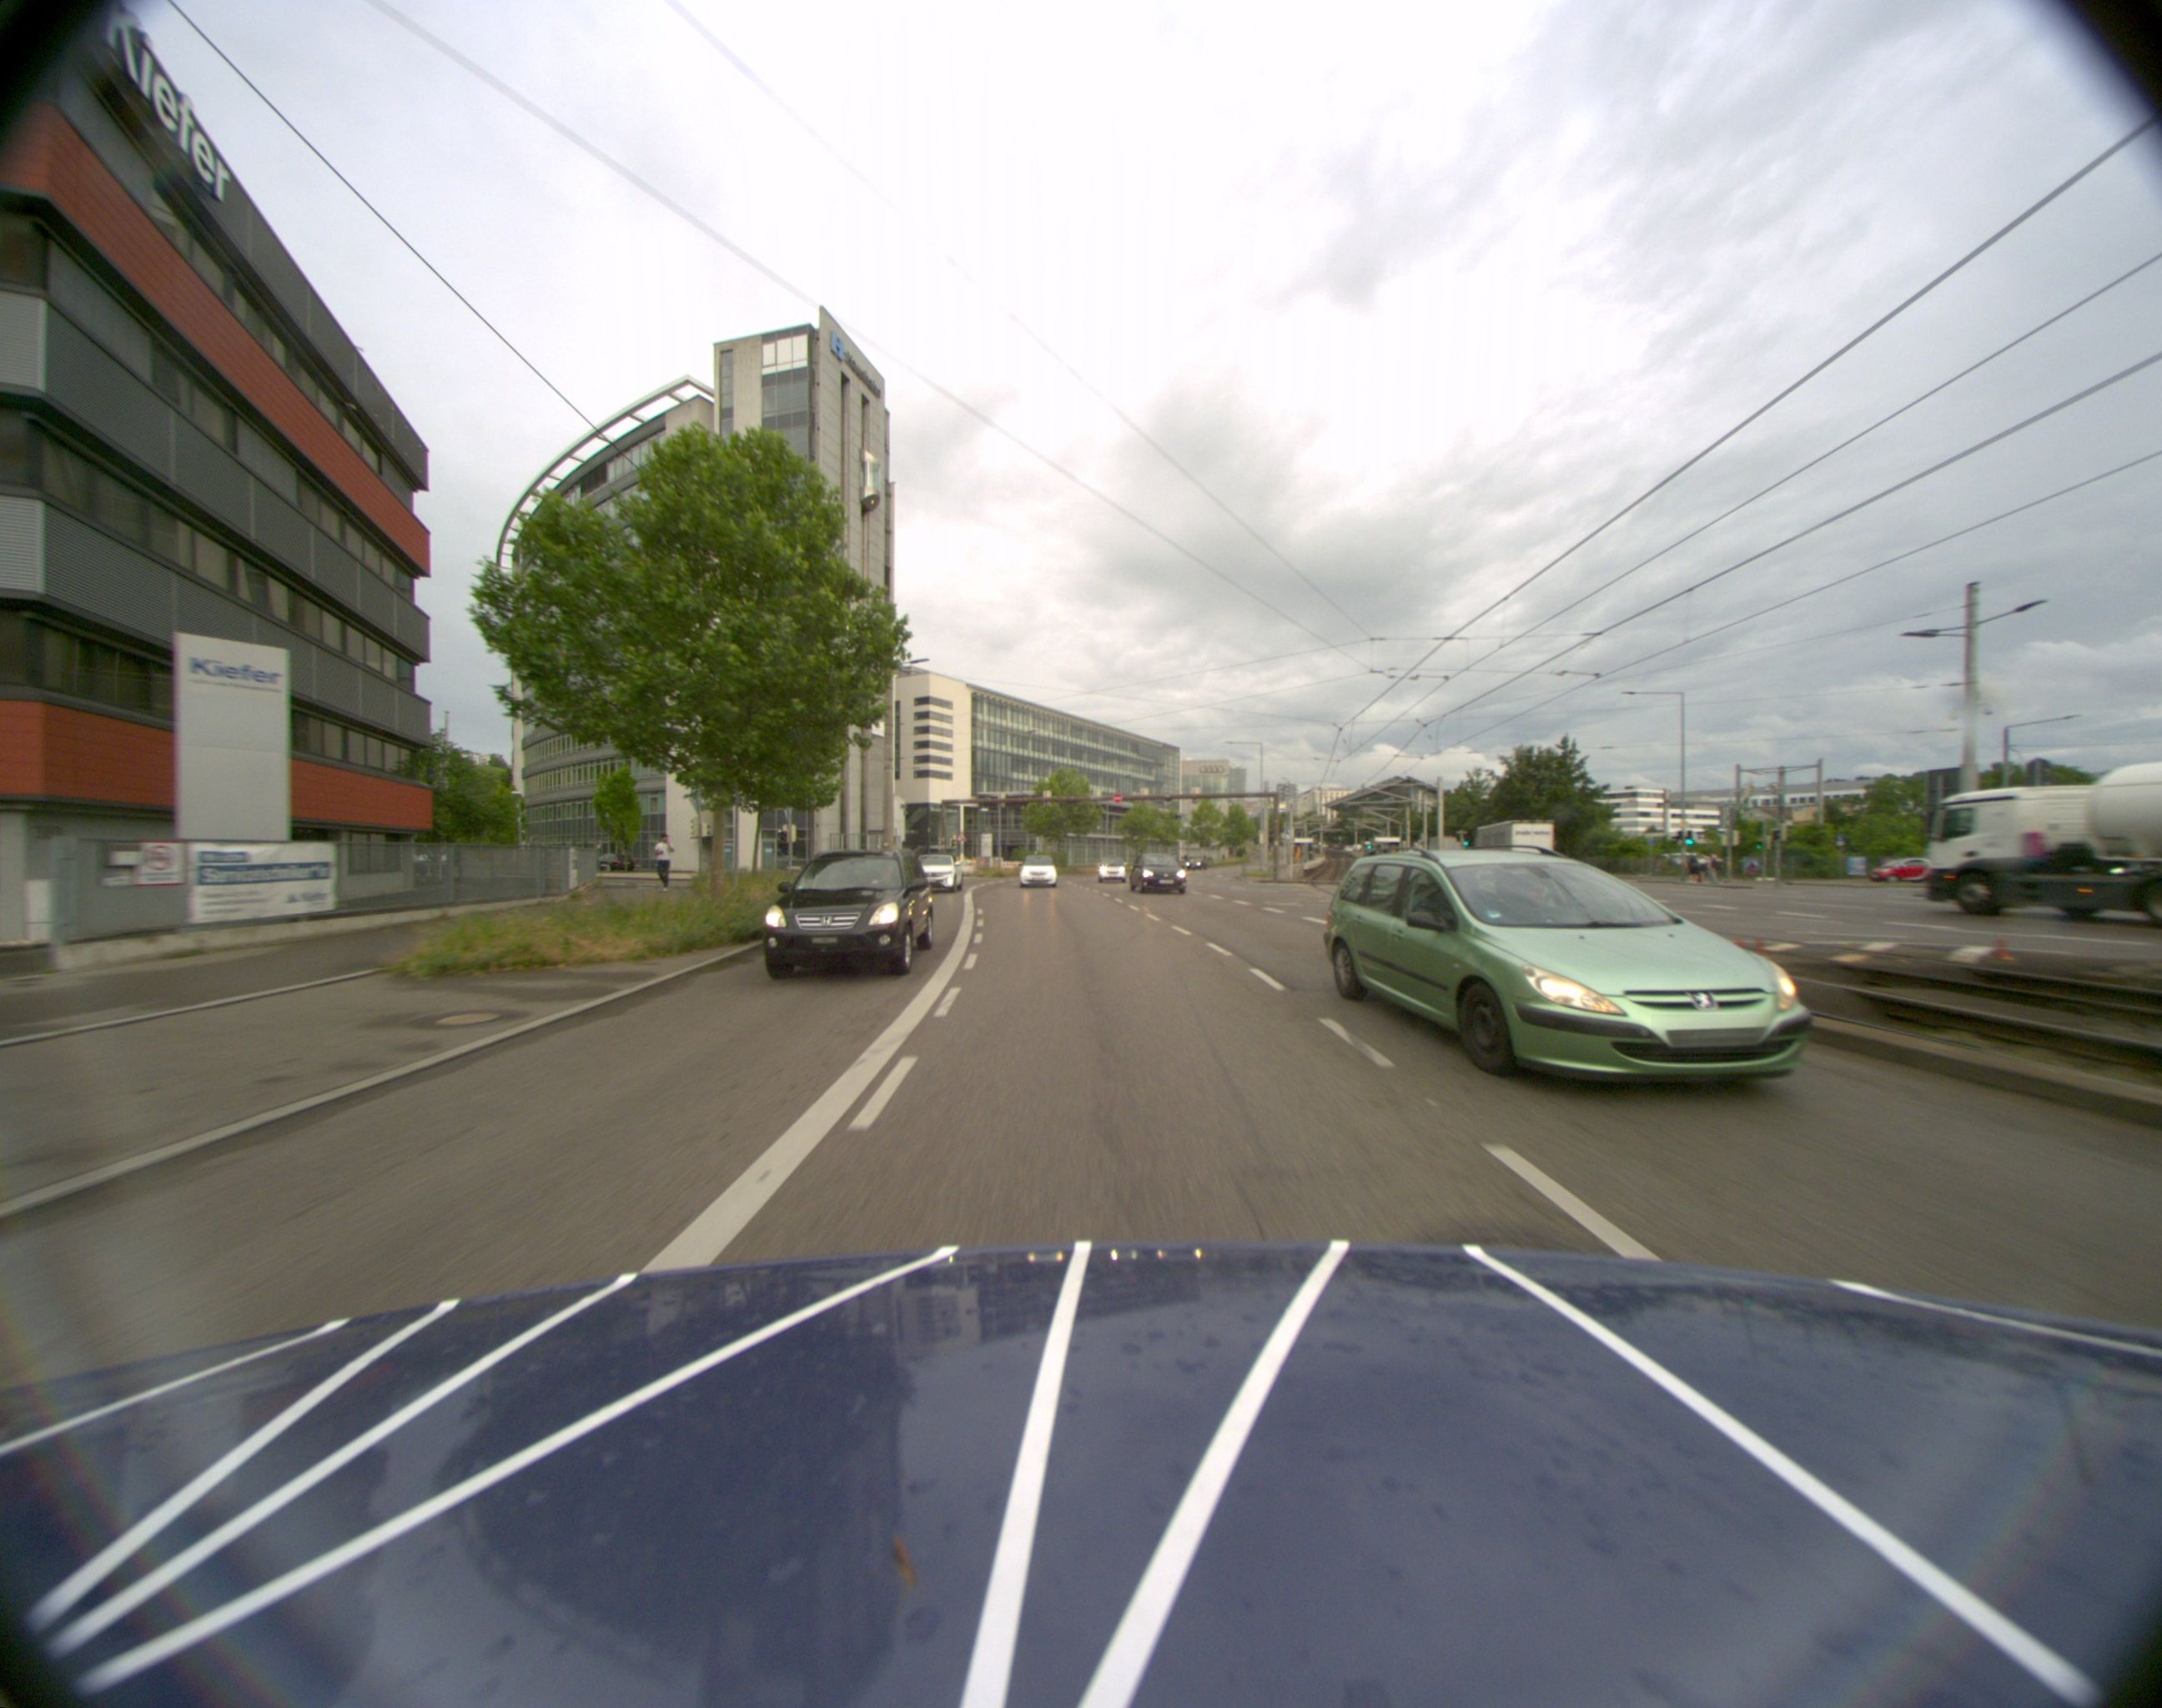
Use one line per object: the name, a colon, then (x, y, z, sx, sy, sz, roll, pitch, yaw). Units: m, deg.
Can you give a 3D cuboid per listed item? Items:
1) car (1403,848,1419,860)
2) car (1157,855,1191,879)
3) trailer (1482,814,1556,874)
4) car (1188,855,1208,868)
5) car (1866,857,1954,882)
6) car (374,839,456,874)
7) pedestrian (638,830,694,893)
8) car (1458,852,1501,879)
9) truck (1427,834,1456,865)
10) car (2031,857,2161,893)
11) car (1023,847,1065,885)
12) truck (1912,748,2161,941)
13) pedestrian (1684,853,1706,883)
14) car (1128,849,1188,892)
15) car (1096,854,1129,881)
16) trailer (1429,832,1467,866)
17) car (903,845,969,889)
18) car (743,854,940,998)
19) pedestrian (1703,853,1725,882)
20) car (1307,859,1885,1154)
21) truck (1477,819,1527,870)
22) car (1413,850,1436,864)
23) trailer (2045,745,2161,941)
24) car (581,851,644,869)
car: (48.571, 0.034, 111.970, 1.889, 1.642, 4.101, -2, 0, 20)
car: (6.701, 0.925, 54.195, 1.729, 1.582, 4.198, -2, 0, 16)
trailer: (33.263, -0.734, 58.245, 2.652, 4.101, 12.763, 1, 1, 20)
car: (15.317, 0.985, 99.357, 1.699, 1.514, 3.830, -1, 1, 21)
car: (50.026, 0.889, 45.946, 3.307, 1.428, 1.457, 0, 2, 31)
car: (-40.744, 0.211, 46.475, 5.069, 1.903, 2.005, -1, -4, 28)
pedestrian: (-14.372, 0.241, 26.333, 1.144, 2.114, 1.223, 1, 3, 19)
car: (28.463, 0.808, 54.426, 1.996, 1.826, 4.916, -1, -1, 19)
truck: (48.448, -0.574, 102.306, 2.835, 3.972, 5.995, 0, 0, 19)
car: (41.813, 0.825, 30.805, 3.996, 1.393, 2.000, 0, 0, 1)
car: (-1.807, 0.520, 36.386, 1.806, 1.713, 3.997, 0, 1, -6)
truck: (22.728, -0.191, 16.865, 2.751, 3.783, 5.413, 1, 1, 6)
pedestrian: (35.279, 0.782, 43.652, 0.727, 1.695, 0.740, -1, 1, 16)
car: (2.896, 0.594, 29.217, 1.697, 1.514, 3.903, 0, 0, -3)
car: (1.818, 0.792, 44.978, 1.740, 1.469, 4.000, -2, 0, 0)
trailer: (46.501, -0.606, 96.536, 2.797, 4.083, 11.459, 1, 0, 18)
car: (-5.709, 0.479, 30.394, 1.999, 1.669, 3.821, 1, 0, -2)
car: (-3.196, 0.856, 11.062, 1.771, 1.620, 4.323, -2, 0, -5)
pedestrian: (36.377, 0.778, 43.687, 0.727, 1.653, 0.740, -1, 1, 16)
car: (3.407, 0.826, 6.248, 1.699, 1.460, 4.403, -2, 0, -1)
truck: (35.314, -0.812, 63.976, 2.669, 4.106, 6.194, 1, 1, 20)
car: (41.456, 0.303, 91.797, 1.905, 1.546, 4.571, -2, 0, 18)
trailer: (22.114, -0.145, 11.000, 2.730, 3.832, 11.232, 1, 1, 6)
car: (-37.394, 0.478, 60.659, 4.315, 1.306, 1.903, -2, 1, 19)
